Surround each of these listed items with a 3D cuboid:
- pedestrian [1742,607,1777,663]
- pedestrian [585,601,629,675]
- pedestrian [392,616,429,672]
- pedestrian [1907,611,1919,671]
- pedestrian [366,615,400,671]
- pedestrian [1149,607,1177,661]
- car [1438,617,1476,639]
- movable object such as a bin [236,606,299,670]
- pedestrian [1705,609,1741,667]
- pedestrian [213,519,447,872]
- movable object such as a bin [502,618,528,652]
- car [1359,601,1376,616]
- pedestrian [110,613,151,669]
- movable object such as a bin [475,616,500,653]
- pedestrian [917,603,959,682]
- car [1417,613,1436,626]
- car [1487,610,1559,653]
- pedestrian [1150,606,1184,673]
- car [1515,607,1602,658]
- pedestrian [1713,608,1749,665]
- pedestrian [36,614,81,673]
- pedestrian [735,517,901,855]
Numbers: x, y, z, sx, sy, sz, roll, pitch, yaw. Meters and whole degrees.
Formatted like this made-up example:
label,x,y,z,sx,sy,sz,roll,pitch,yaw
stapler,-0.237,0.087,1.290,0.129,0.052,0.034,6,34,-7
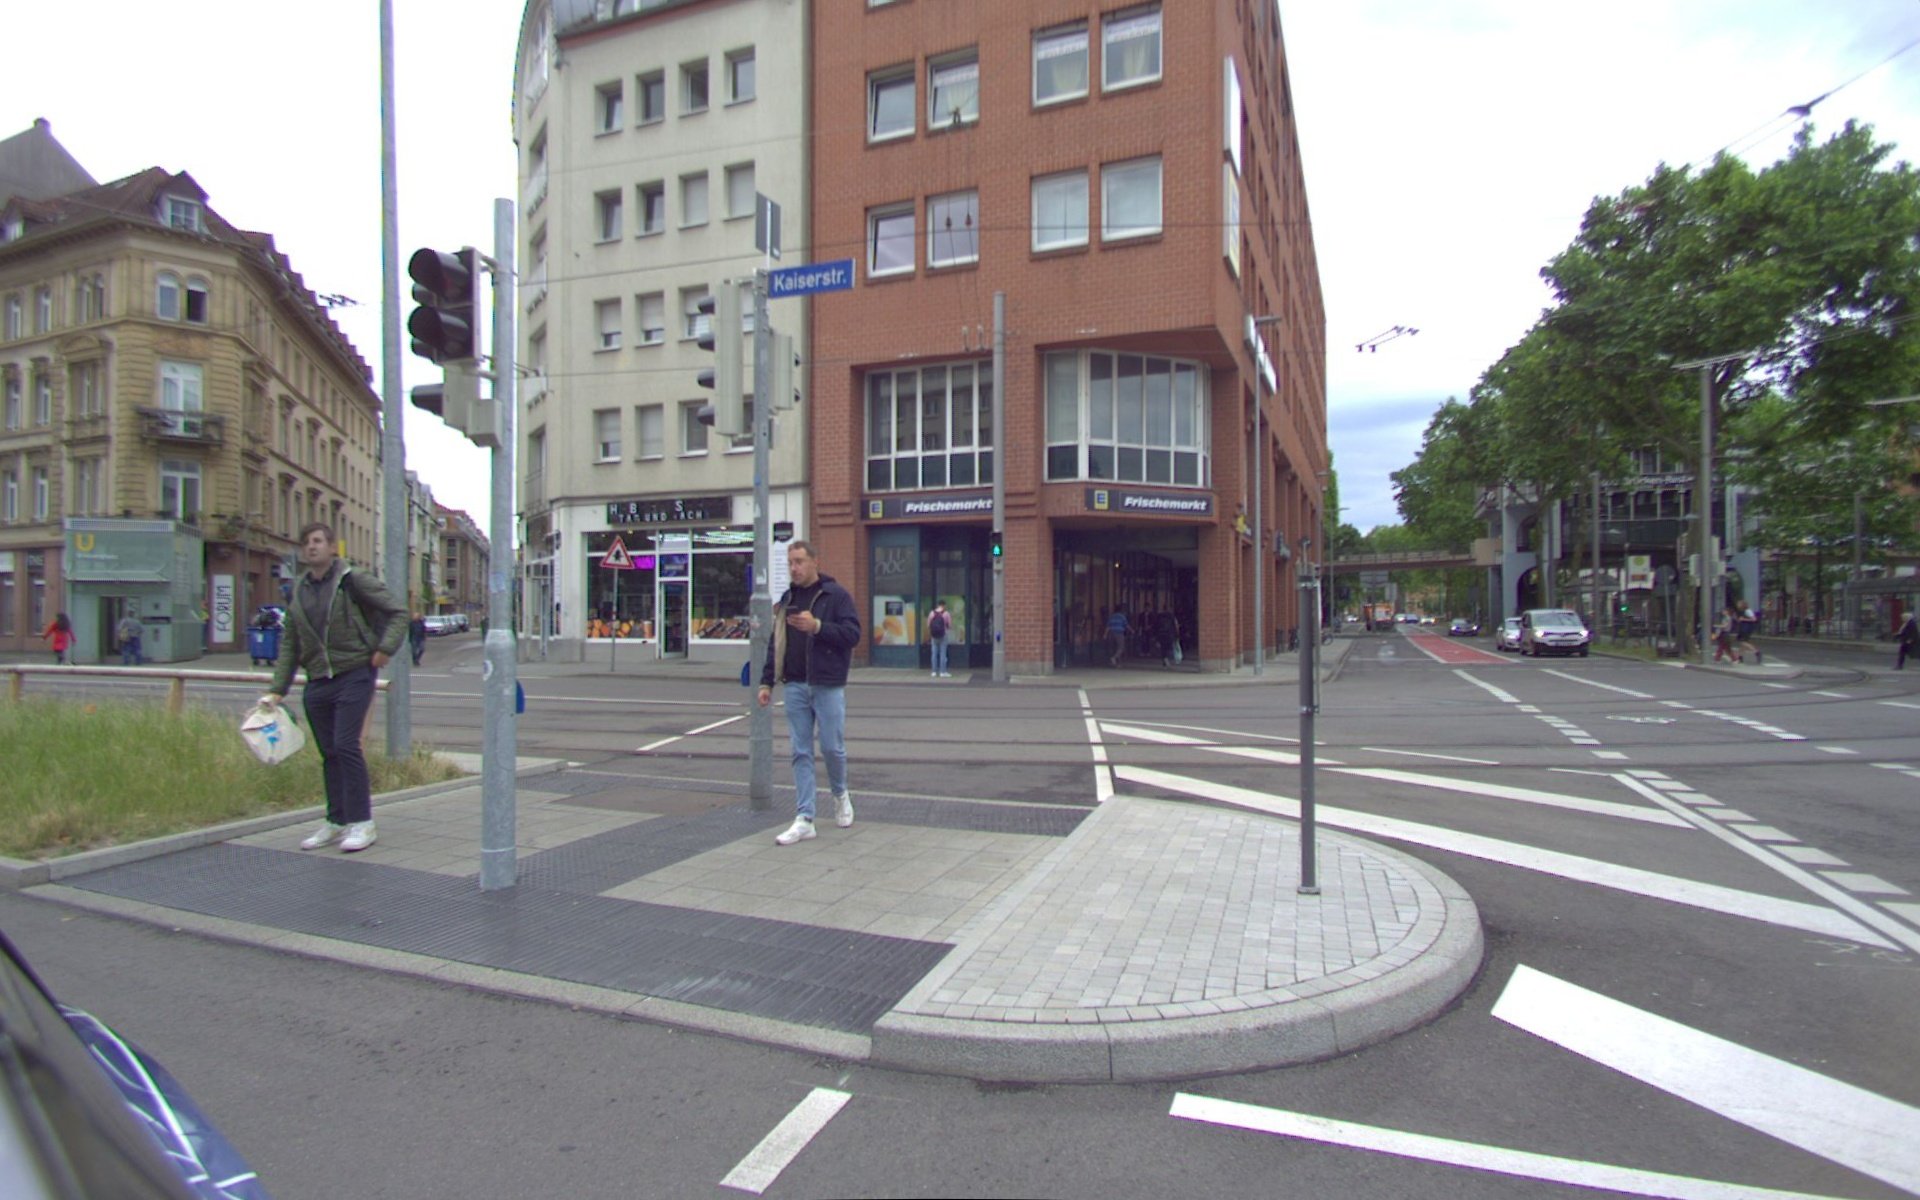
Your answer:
label,x,y,z,sx,sy,sz,roll,pitch,yaw
pedestrian,23.497,1.021,29.751,0.624,1.624,0.571,1,0,15
pedestrian,-8.301,0.883,23.809,0.715,1.700,0.660,1,-1,11
pedestrian,-17.233,1.363,31.740,0.922,1.700,0.653,0,-1,38
pedestrian,25.790,1.096,26.909,0.741,1.572,0.569,1,0,28
pedestrian,-17.747,1.309,31.124,0.722,1.700,0.653,0,-1,38
pedestrian,6.481,1.077,32.263,0.793,1.696,0.741,0,1,18
car,36.740,2.056,74.876,1.912,1.575,3.847,-1,-1,17
movable object such as a bin,-22.210,1.205,32.468,1.610,1.996,1.024,1,-1,30
pedestrian,21.462,1.054,28.474,0.624,1.586,0.571,1,0,15
pedestrian,-3.714,0.509,6.017,0.793,1.904,0.893,0,1,20
movable object such as a bin,-19.173,1.481,43.577,0.993,1.416,1.243,0,0,-26
car,51.139,1.034,126.879,1.916,1.807,3.678,-1,-1,23
pedestrian,-25.626,1.249,31.255,0.722,1.700,0.814,0,-1,40
movable object such as a bin,-20.190,1.452,43.249,0.930,1.512,1.243,0,0,-26
pedestrian,-0.492,0.929,22.522,0.793,1.696,0.567,0,1,19
car,57.834,2.412,125.505,1.665,1.559,3.685,-1,-1,17
car,24.607,1.370,44.357,1.912,1.807,3.977,-1,-1,17
pedestrian,5.404,1.009,26.417,0.793,1.696,0.741,0,1,18
car,22.481,1.191,38.195,1.912,1.807,3.977,-1,-1,17
pedestrian,22.456,1.051,29.481,0.624,1.624,0.571,1,0,15
pedestrian,-26.551,1.276,29.809,0.655,1.700,0.720,1,-1,12
pedestrian,-0.848,0.485,6.143,0.793,1.904,0.608,0,-1,21
